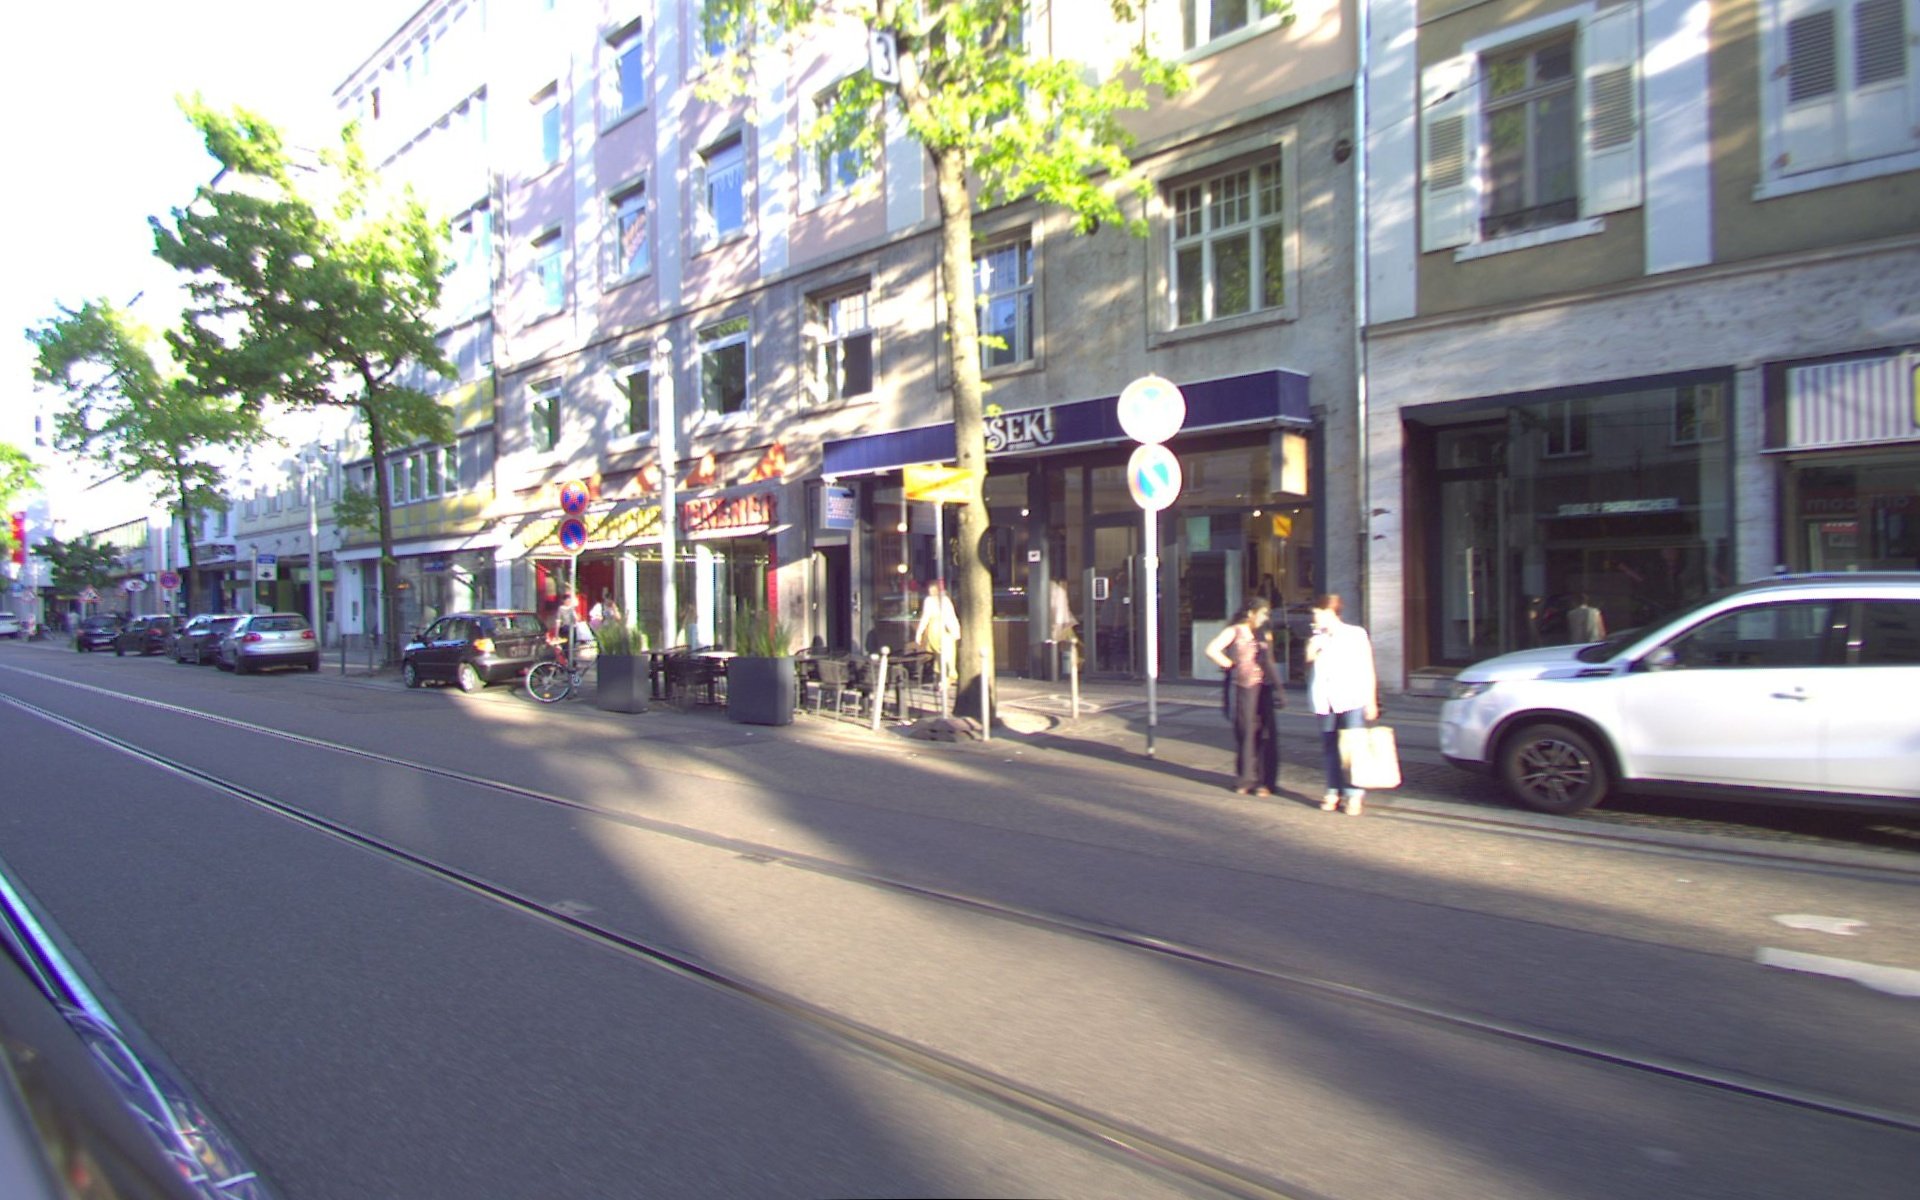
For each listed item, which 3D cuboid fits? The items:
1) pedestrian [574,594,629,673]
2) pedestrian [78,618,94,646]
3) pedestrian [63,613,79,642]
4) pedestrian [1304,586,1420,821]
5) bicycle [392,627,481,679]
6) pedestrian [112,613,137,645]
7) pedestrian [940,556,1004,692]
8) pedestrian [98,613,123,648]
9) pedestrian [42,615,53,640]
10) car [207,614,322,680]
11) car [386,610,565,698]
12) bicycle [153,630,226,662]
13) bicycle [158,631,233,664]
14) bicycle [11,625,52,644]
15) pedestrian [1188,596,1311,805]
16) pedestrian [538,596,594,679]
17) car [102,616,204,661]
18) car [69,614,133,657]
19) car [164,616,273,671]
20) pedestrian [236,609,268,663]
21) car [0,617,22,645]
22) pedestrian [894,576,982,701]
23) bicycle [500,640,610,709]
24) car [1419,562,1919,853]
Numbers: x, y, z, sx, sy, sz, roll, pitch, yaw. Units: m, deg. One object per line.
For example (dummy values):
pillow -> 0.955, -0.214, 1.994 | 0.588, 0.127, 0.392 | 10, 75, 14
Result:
pedestrian -> -7.918, 0.729, 22.355 | 0.913, 1.706, 0.781 | -2, -1, 40
pedestrian -> -53.960, 1.977, 62.474 | 0.808, 1.725, 0.620 | -2, 0, 44
pedestrian -> -53.398, 1.636, 60.808 | 0.829, 1.725, 0.634 | -2, 0, 44
pedestrian -> 2.869, 0.698, 7.223 | 0.633, 1.581, 0.515 | 0, 0, 41
bicycle -> -11.918, 1.197, 23.093 | 0.439, 1.073, 1.795 | -1, 0, 32
pedestrian -> -46.574, 1.593, 56.405 | 1.037, 1.708, 0.824 | -2, 2, 41
pedestrian -> 0.184, 0.357, 15.551 | 0.642, 2.029, 0.714 | -1, -1, 41
pedestrian -> -44.372, 1.580, 52.860 | 0.831, 1.779, 0.842 | -2, -1, 38
pedestrian -> -75.211, 2.278, 83.432 | 0.592, 2.029, 0.608 | -2, -1, 39
car -> -17.907, 1.140, 25.985 | 1.747, 1.508, 4.178 | -1, 0, -44
car -> -9.427, 0.984, 19.586 | 3.824, 1.439, 1.649 | -1, 2, 40
bicycle -> -26.201, 1.560, 34.428 | 0.330, 1.009, 1.949 | -1, -1, 43
bicycle -> -25.040, 1.547, 33.181 | 0.330, 1.009, 1.949 | -1, -1, 43
bicycle -> -54.577, 2.019, 59.512 | 1.724, 0.999, 0.479 | -5, 2, -42
pedestrian -> 2.243, 0.730, 7.845 | 0.729, 1.521, 0.613 | 0, 0, 41
pedestrian -> -8.242, 0.773, 21.184 | 0.740, 1.706, 0.835 | -2, -1, 40
car -> -29.660, 1.377, 37.161 | 4.232, 1.501, 1.777 | -1, 1, 35
car -> -35.944, 1.446, 42.425 | 1.608, 1.628, 3.718 | -3, 1, -34
car -> -22.386, 1.266, 30.496 | 4.484, 1.472, 1.694 | -1, 1, 41
pedestrian -> -24.948, 1.264, 35.676 | 0.878, 1.839, 0.653 | -2, 2, 41
car -> -63.528, 2.089, 66.624 | 4.741, 1.767, 1.973 | -2, 1, 40
pedestrian -> -0.324, 0.551, 15.013 | 1.089, 1.773, 0.714 | -1, -1, 41
bicycle -> -6.618, 1.195, 16.602 | 1.597, 0.972, 0.433 | -3, 1, -44
car -> 5.584, 0.605, 6.878 | 4.114, 1.591, 1.817 | -1, 3, 41
